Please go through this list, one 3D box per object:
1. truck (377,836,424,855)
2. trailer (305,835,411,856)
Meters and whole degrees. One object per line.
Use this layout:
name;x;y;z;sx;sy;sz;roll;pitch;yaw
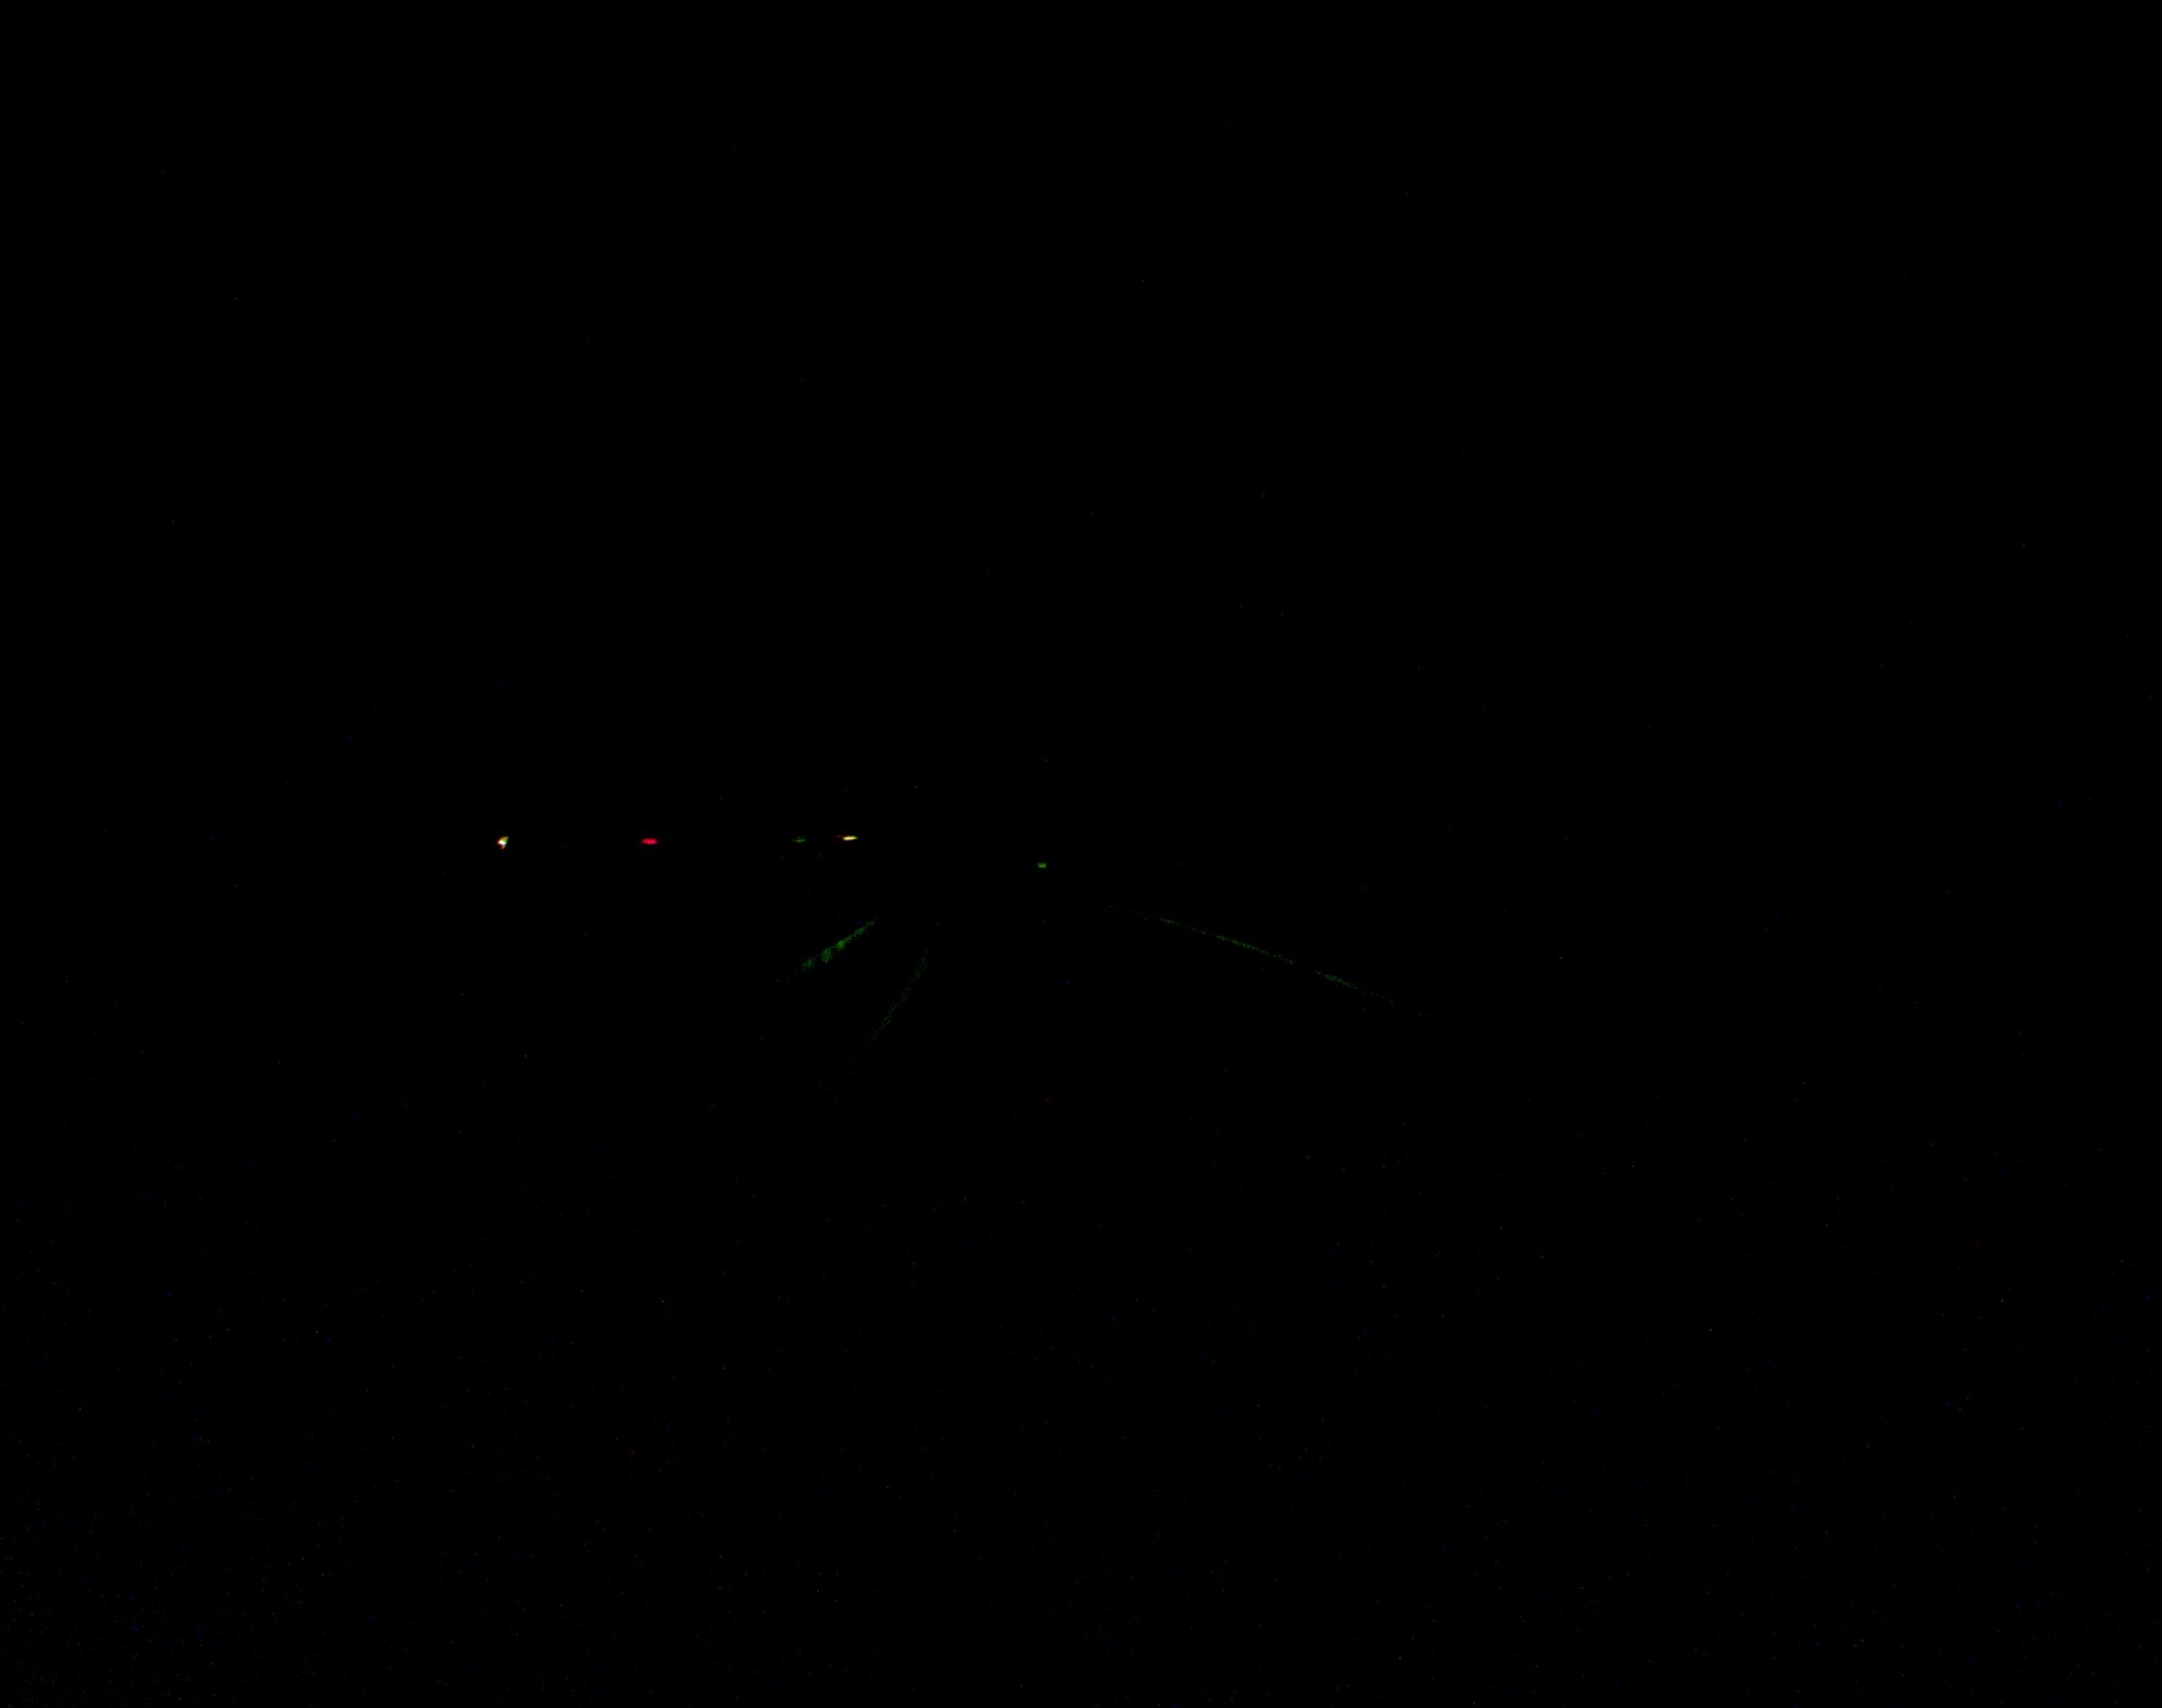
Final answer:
truck;-102.164;-1.215;122.303;2.663;2.690;4.765;2;0;6
trailer;-102.810;-1.196;116.267;2.674;2.699;12.879;2;0;6
